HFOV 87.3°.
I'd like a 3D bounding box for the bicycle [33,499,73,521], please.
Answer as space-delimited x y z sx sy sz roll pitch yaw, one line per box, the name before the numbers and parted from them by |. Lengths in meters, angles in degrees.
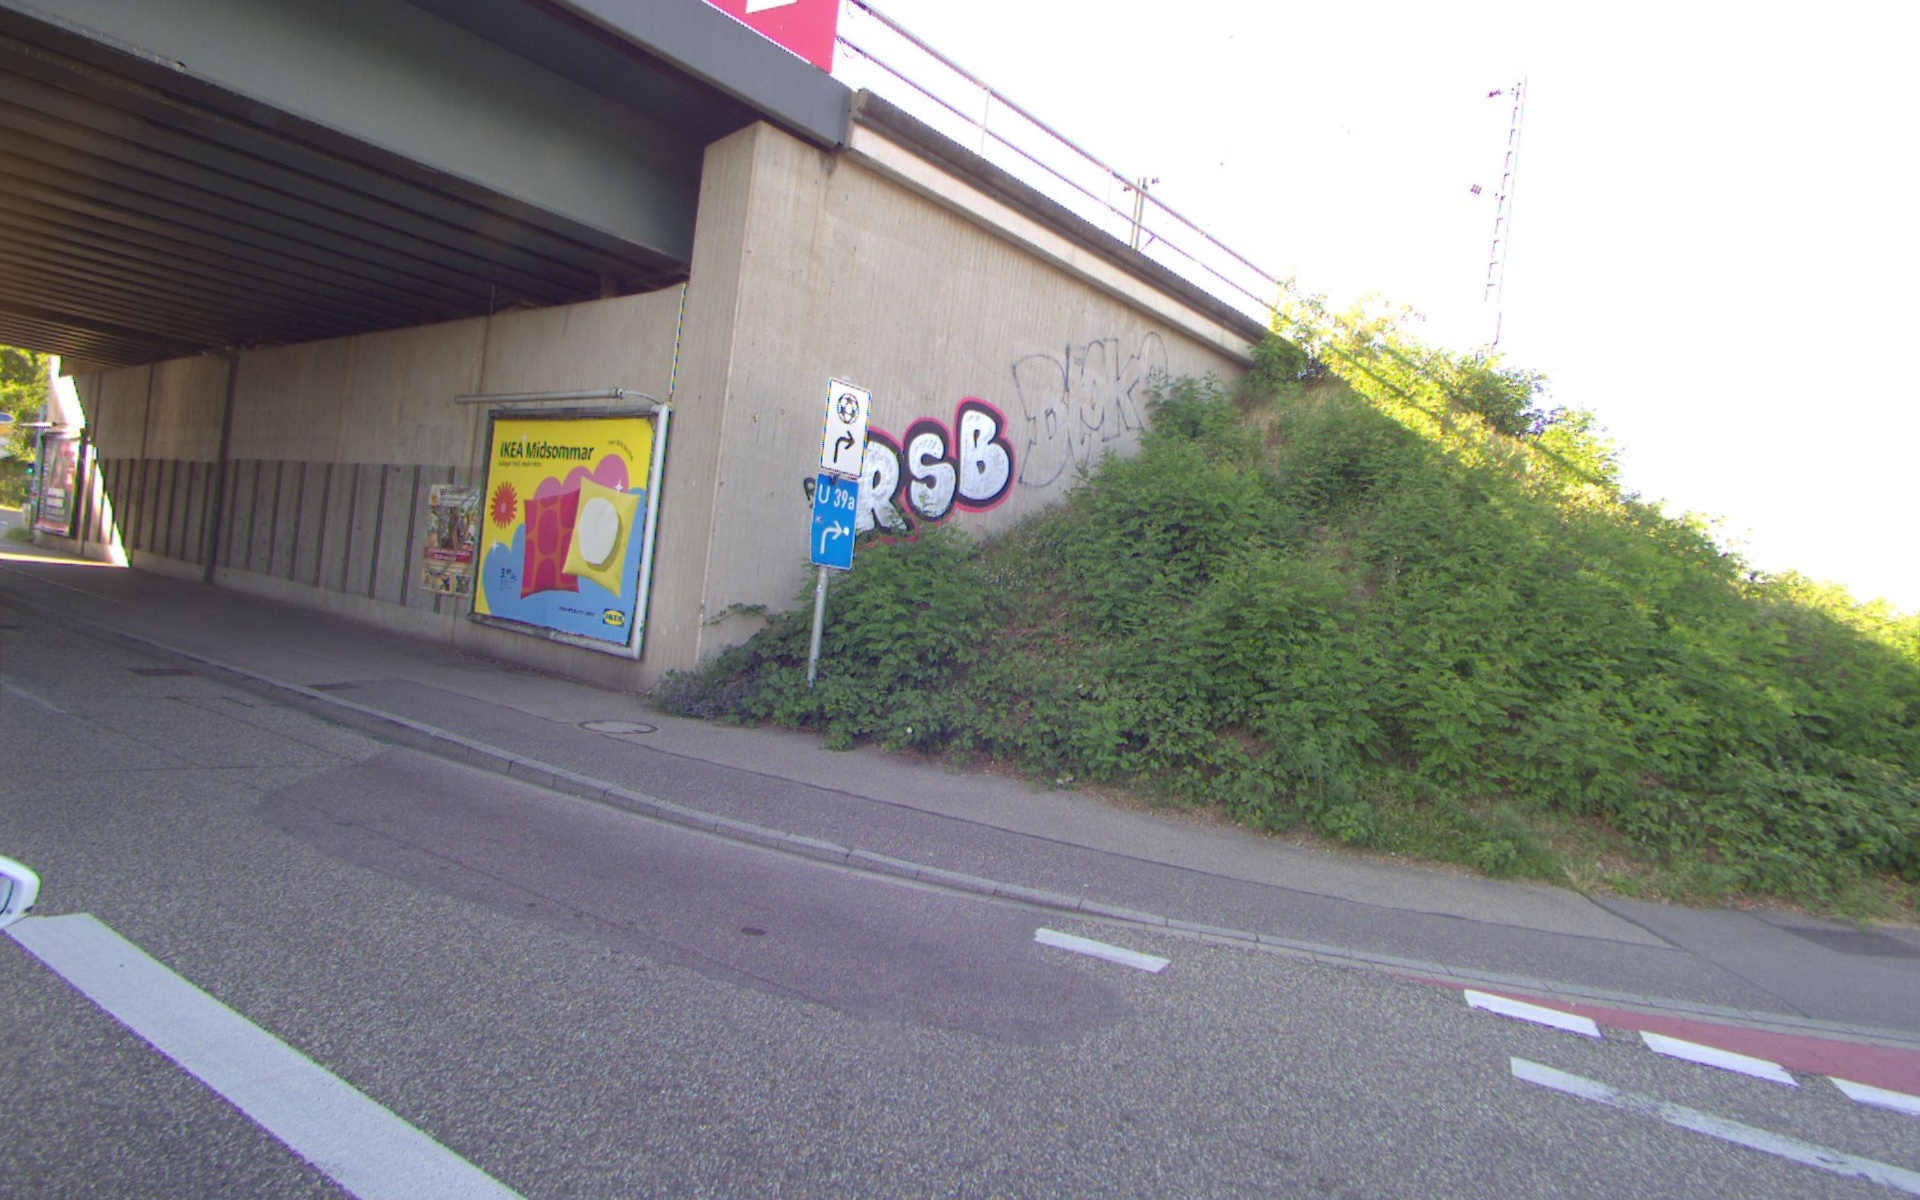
bicycle | -53.813 -5.350 59.704 1.652 1.004 0.572 7 3 -35
